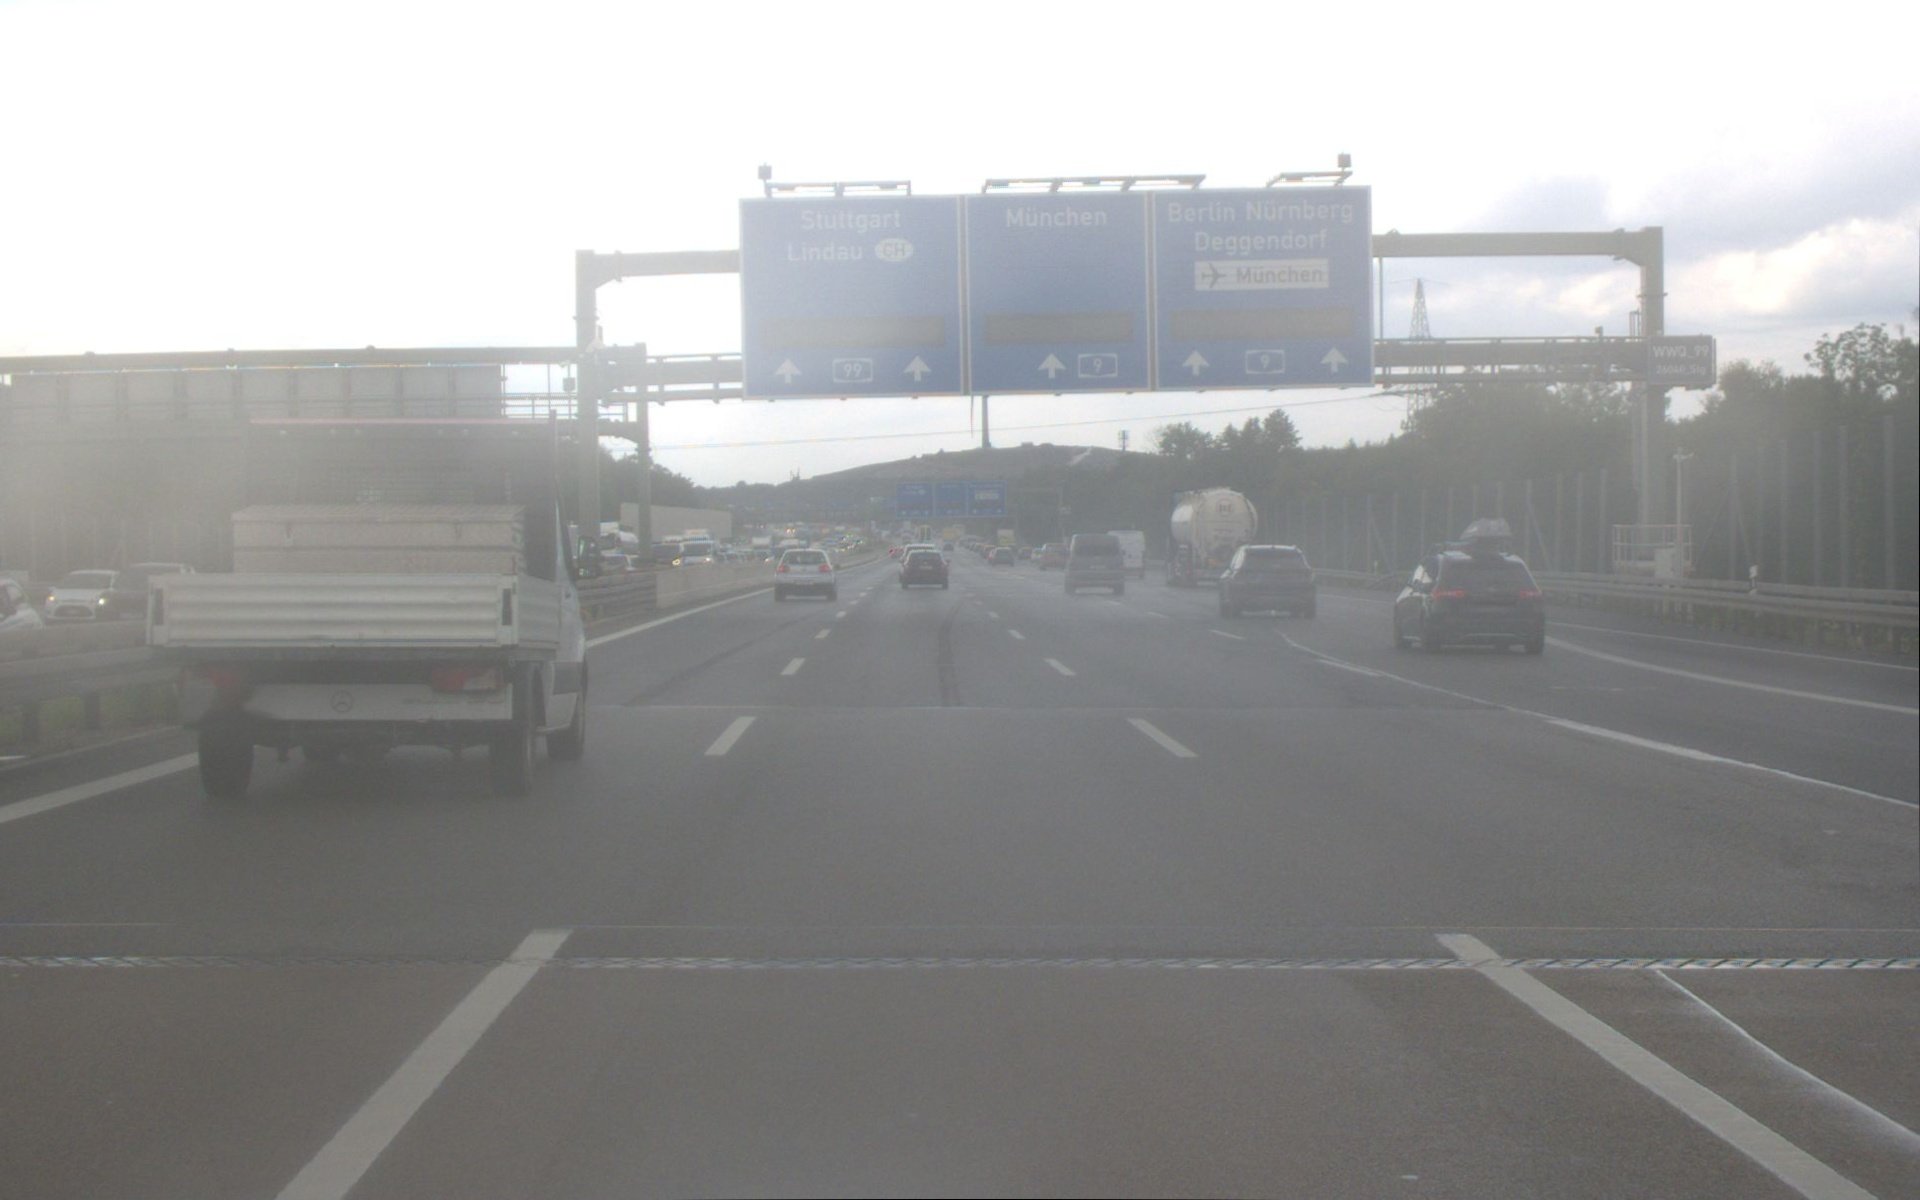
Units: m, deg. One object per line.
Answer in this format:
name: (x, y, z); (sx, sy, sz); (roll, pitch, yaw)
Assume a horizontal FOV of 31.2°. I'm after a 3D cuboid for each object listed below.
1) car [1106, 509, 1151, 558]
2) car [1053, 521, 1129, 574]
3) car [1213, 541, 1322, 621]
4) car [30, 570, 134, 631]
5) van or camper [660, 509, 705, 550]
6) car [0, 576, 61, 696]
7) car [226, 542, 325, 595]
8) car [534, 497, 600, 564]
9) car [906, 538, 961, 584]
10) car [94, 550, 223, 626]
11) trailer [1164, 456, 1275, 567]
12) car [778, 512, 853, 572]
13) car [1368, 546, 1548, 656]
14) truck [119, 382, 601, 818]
car: (8.654, -3.436, 176.907); (2.045, 2.489, 4.000); (0, 1, -1)
car: (4.344, -1.765, 114.387); (2.097, 1.693, 4.001); (0, 1, -4)
car: (6.853, -0.455, 77.028); (2.045, 1.693, 5.007); (0, 1, 1)
car: (-22.485, -0.004, 88.196); (1.621, 1.442, 4.417); (-1, 2, -1)
van or camper: (-14.971, -3.808, 185.771); (2.095, 2.178, 4.971); (0, 1, -1)
car: (-14.731, 0.526, 50.564); (1.872, 1.642, 4.722); (-1, 2, -1)
car: (-18.762, -0.878, 94.353); (1.889, 1.335, 4.564); (-1, 2, -1)
car: (-19.682, -3.509, 172.473); (2.497, 3.289, 7.627); (0, 1, -1)
car: (-1.021, -1.488, 130.132); (2.045, 1.693, 4.000); (0, 1, -1)
car: (-18.436, -0.308, 79.308); (1.882, 1.593, 5.136); (-1, 2, -1)
trailer: (10.118, -3.458, 135.403); (3.332, 4.161, 11.839); (1, 1, 0)
car: (-4.165, -1.710, 99.811); (2.045, 1.693, 4.000); (0, 1, -1)
car: (7.559, -0.007, 52.655); (2.105, 1.600, 5.065); (0, 1, 1)
truck: (-3.714, -0.089, 22.773); (2.352, 2.400, 7.359); (1, 1, -4)
